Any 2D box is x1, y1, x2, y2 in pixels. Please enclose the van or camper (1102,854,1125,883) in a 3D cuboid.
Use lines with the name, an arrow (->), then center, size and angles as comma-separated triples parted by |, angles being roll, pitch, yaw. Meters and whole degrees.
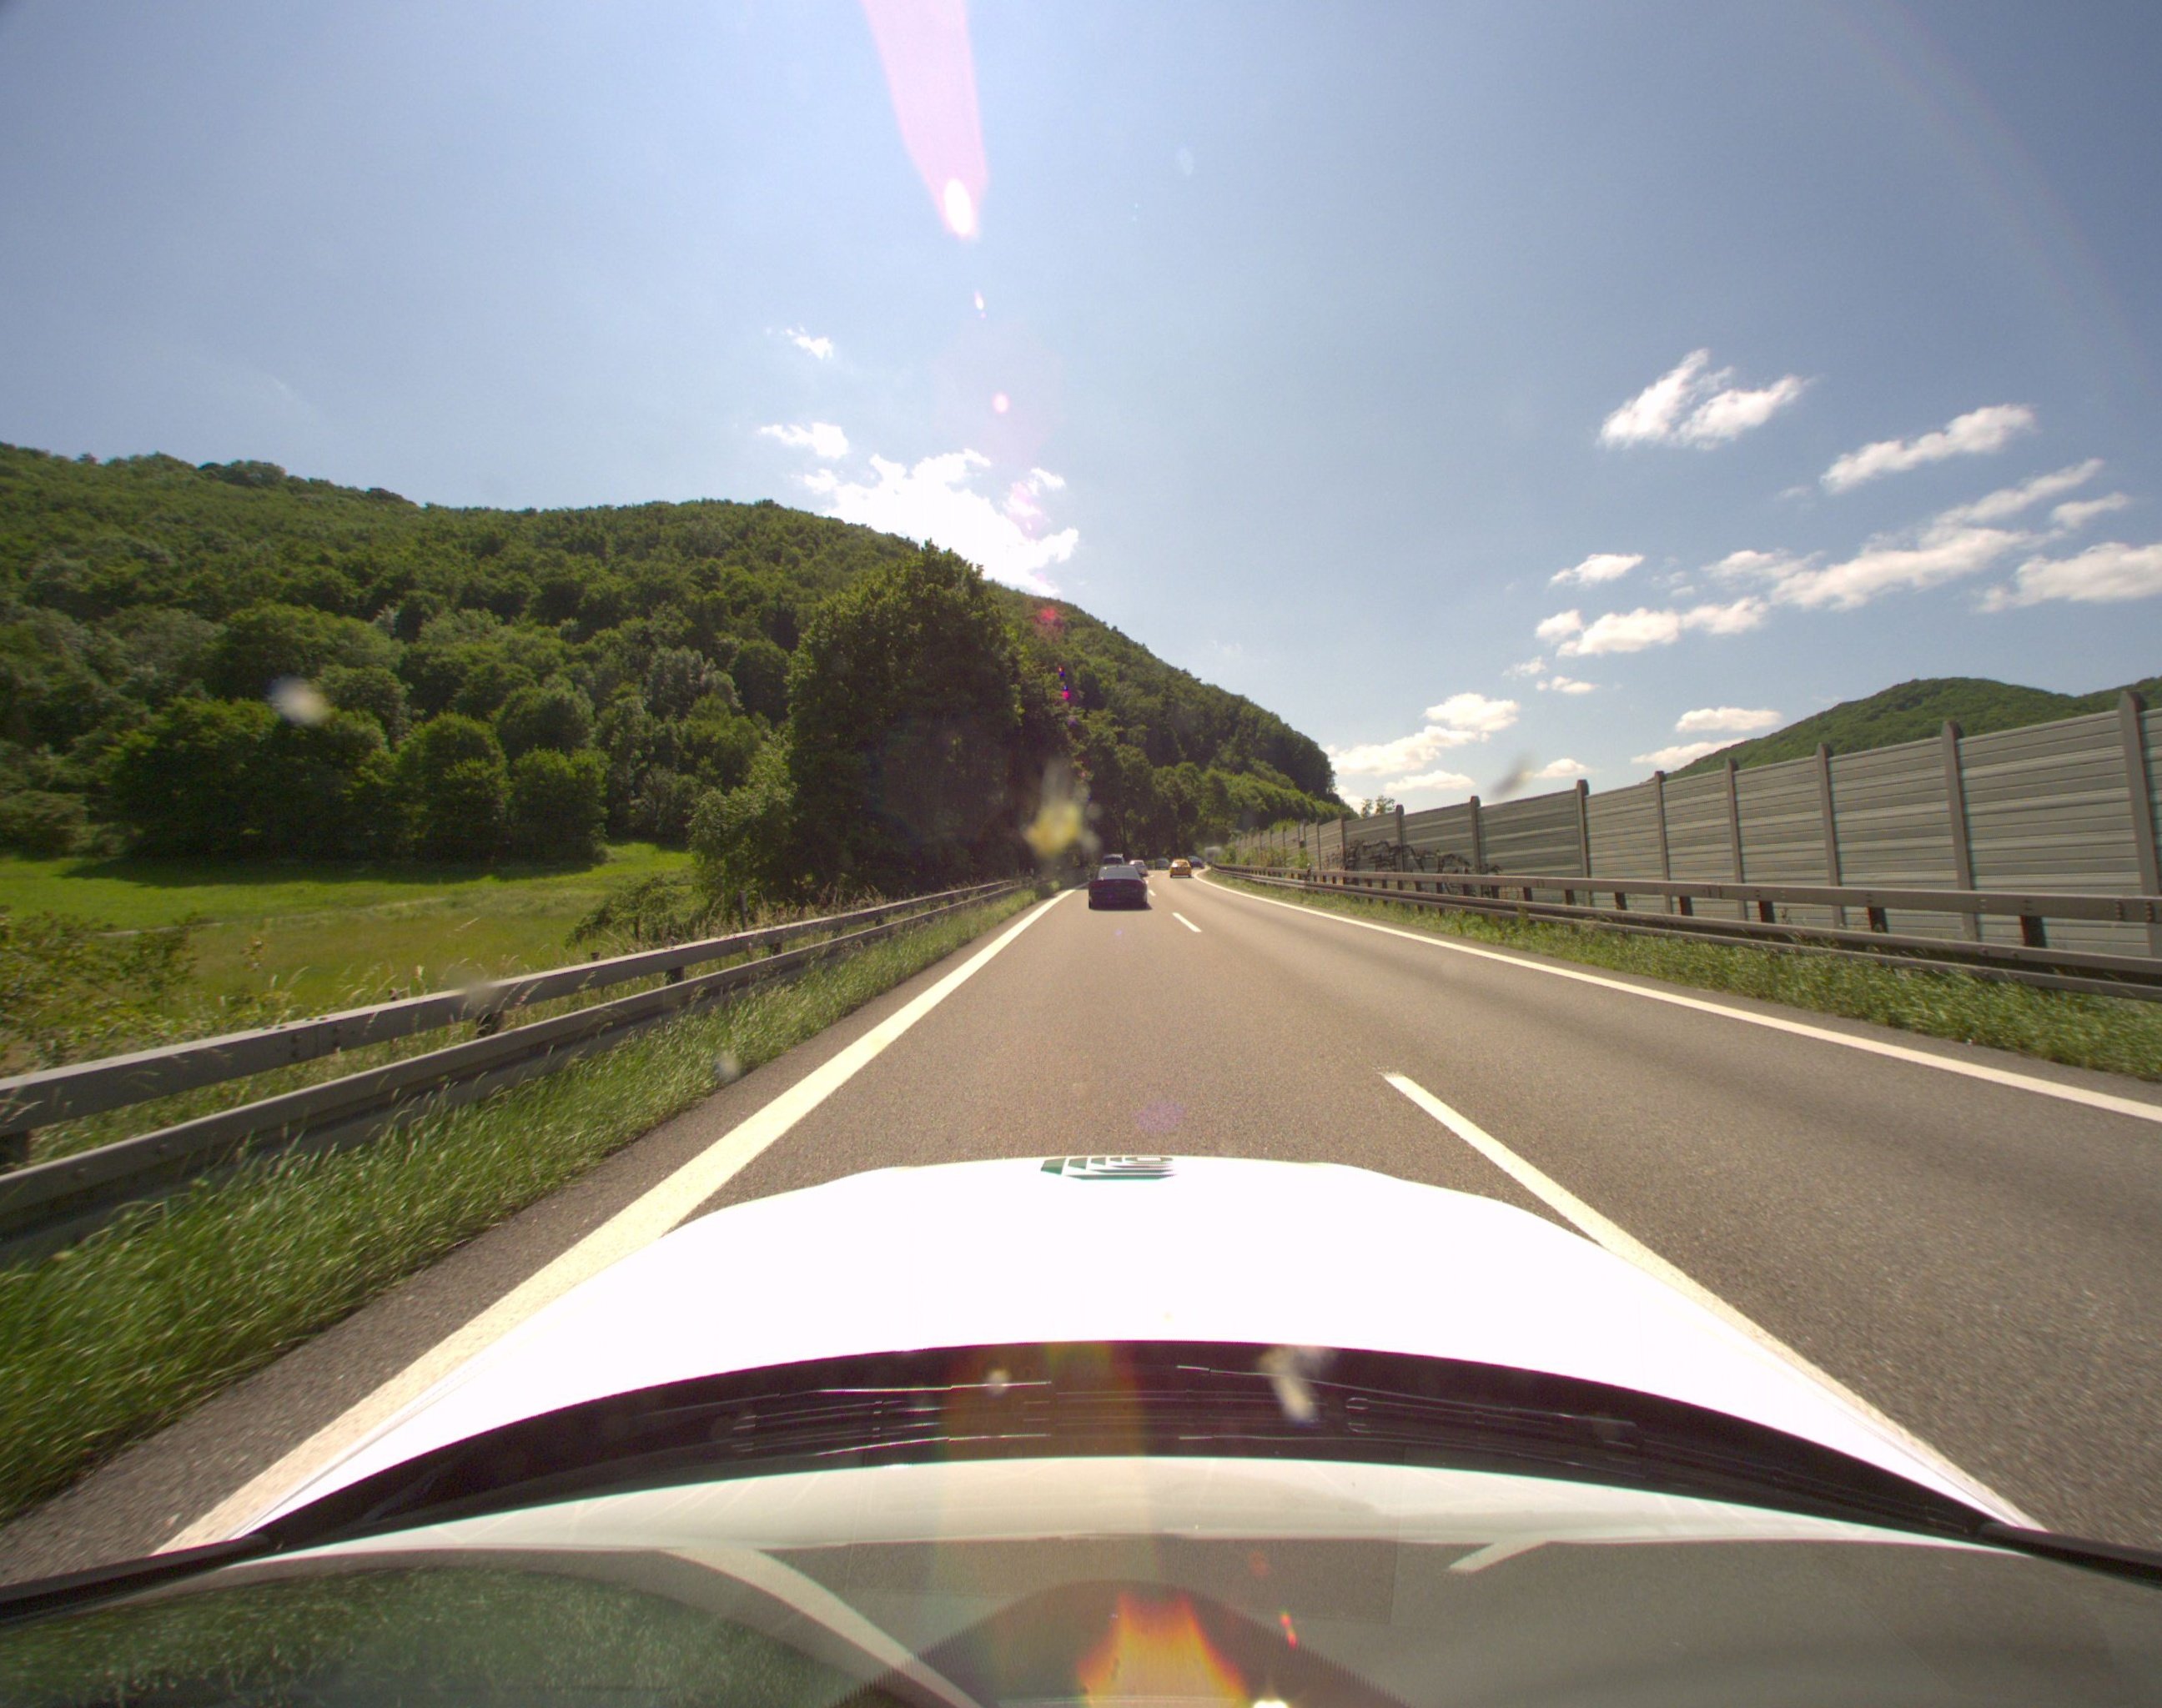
van or camper -> 2.122, 0.947, 53.297 | 1.386, 1.816, 4.001 | -2, -1, 1

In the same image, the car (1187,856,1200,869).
car -> 15.030, 1.192, 108.768 | 1.763, 1.637, 4.008 | -1, -1, 8

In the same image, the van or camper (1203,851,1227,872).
van or camper -> 21.310, 1.167, 129.349 | 2.436, 2.918, 6.154 | -7, -2, 17

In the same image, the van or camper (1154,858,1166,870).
van or camper -> 10.436, 1.301, 107.908 | 1.550, 1.534, 3.509 | -2, -1, 5

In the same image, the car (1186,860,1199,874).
car -> 18.276, 2.119, 133.490 | 1.983, 2.013, 4.008 | -7, -2, 8

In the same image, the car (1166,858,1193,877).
car -> 8.284, 1.155, 68.734 | 1.855, 1.488, 4.002 | -2, -1, 2

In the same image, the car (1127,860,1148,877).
car -> 5.160, 1.311, 74.665 | 1.740, 1.431, 4.001 | -2, -1, 2

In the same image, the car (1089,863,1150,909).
car -> 1.256, 1.016, 27.197 | 1.831, 1.349, 4.001 | -2, -1, 1
